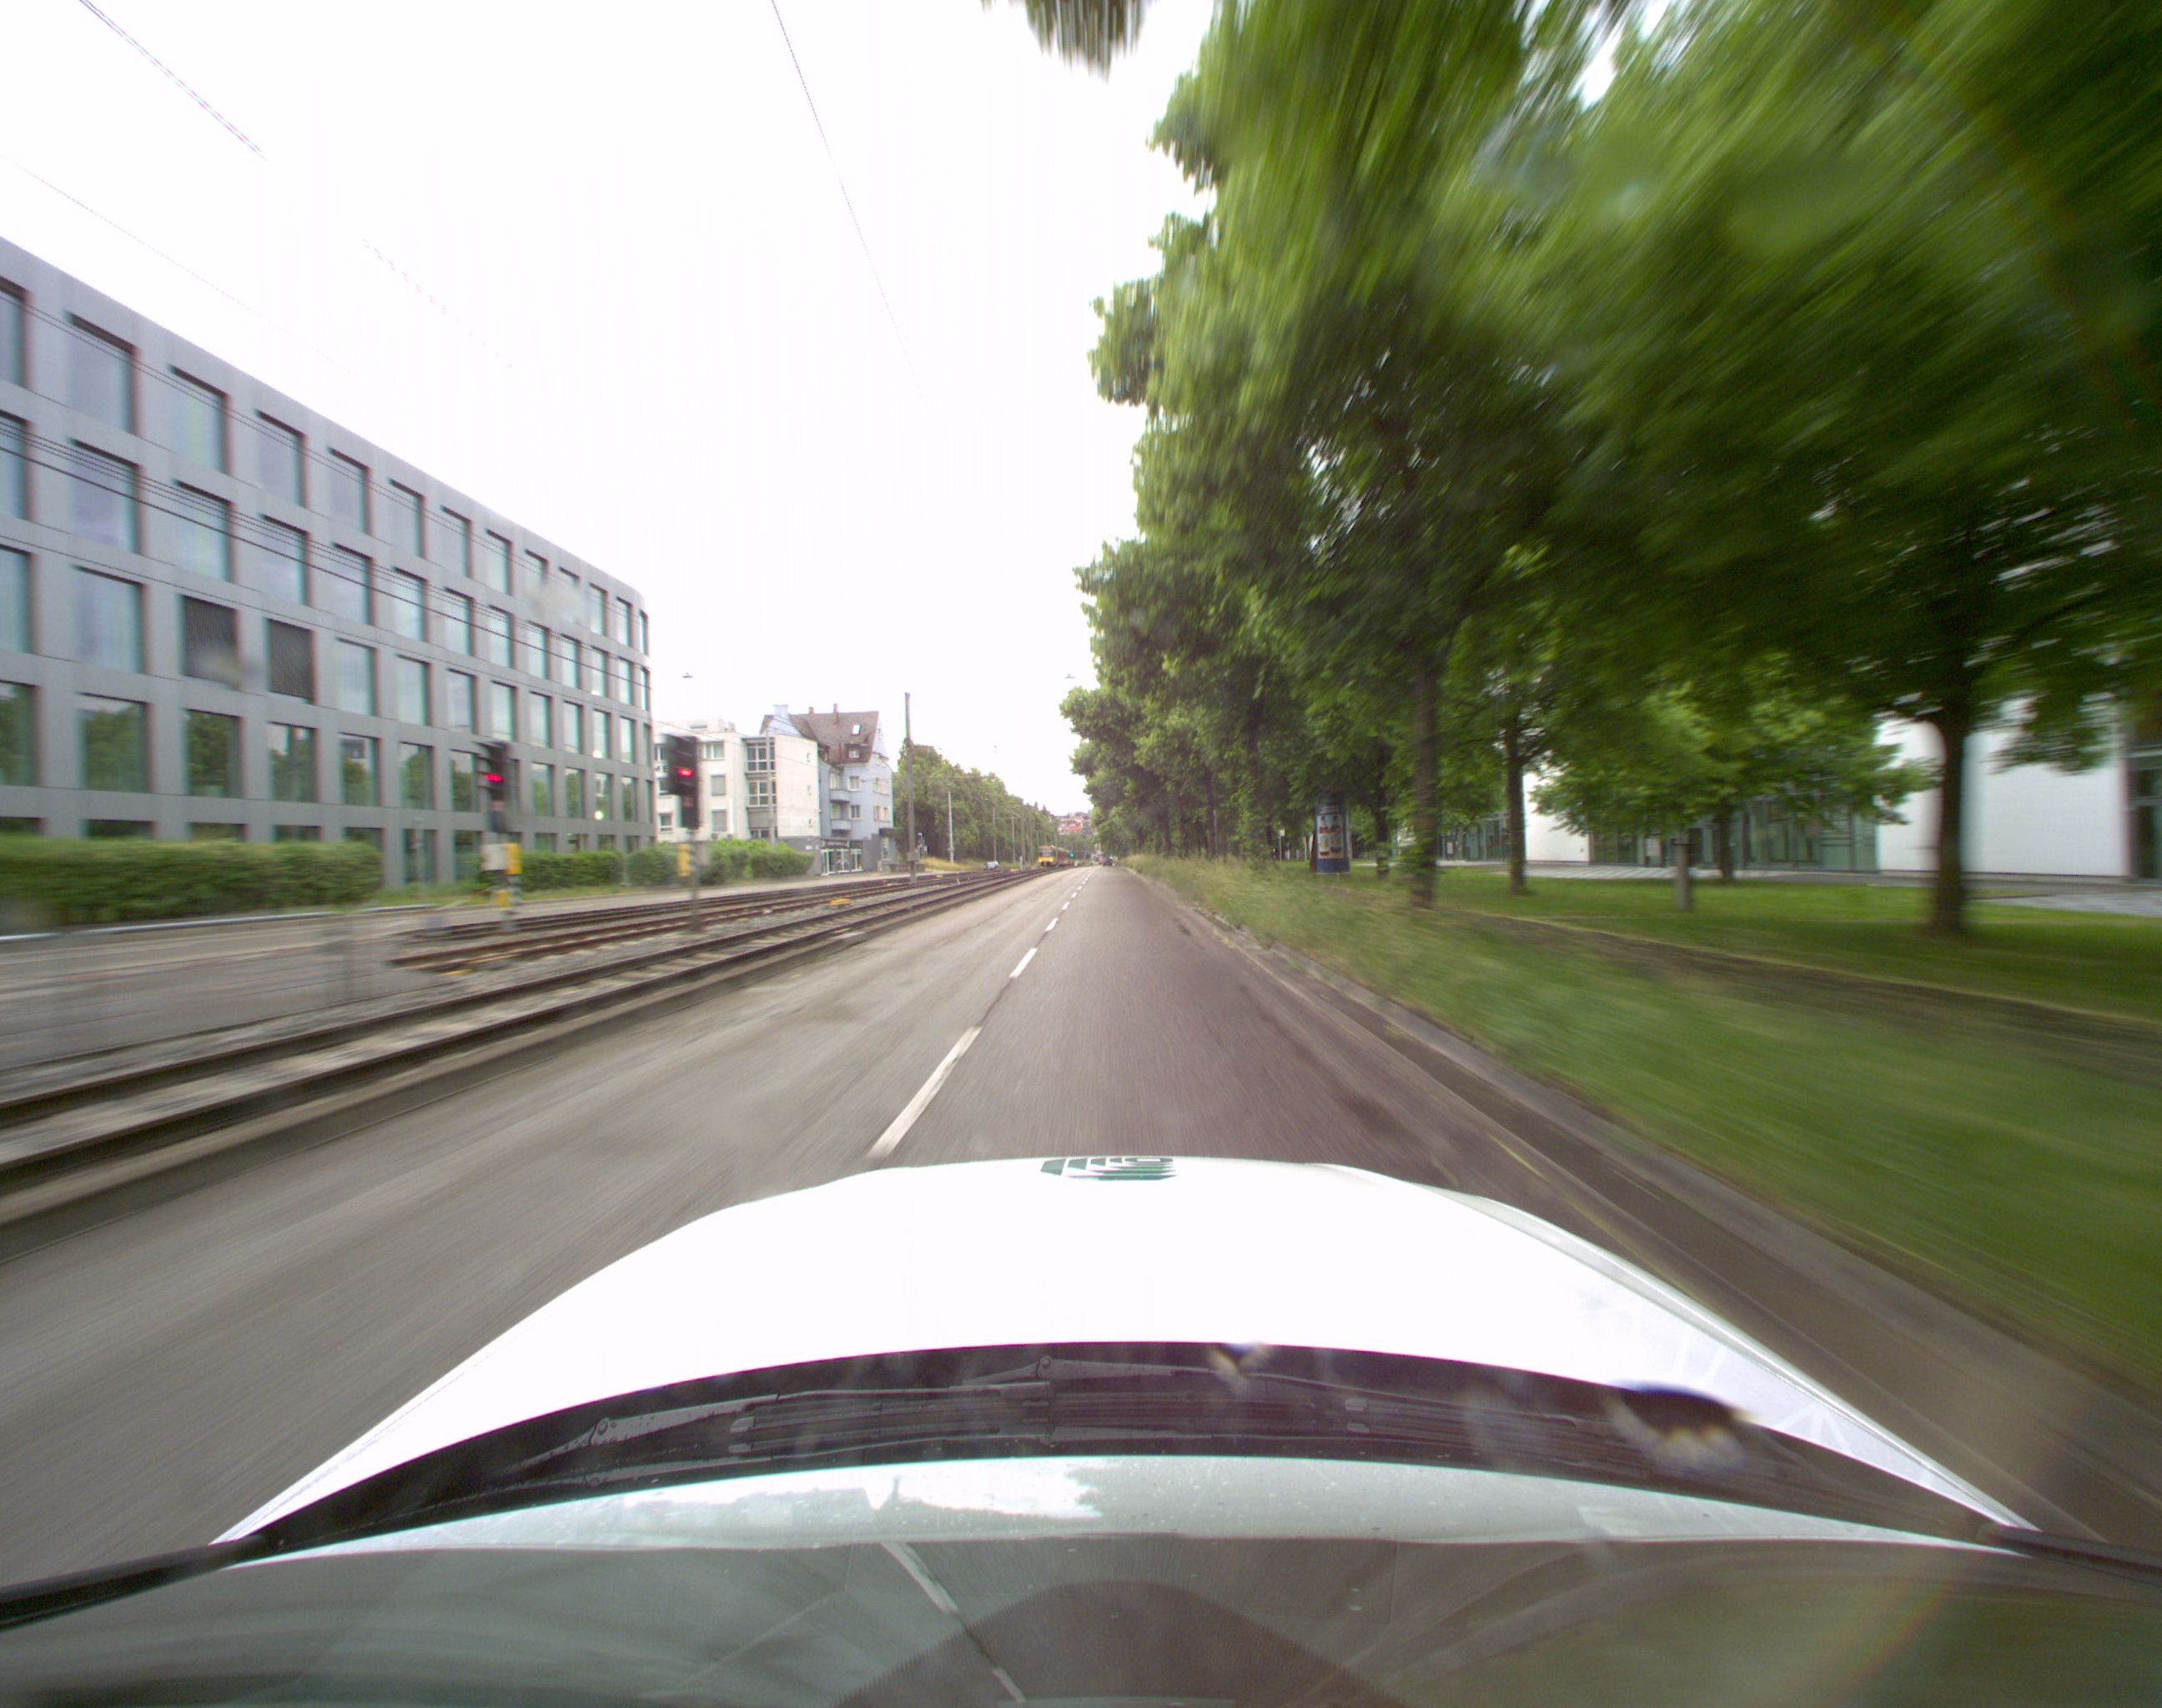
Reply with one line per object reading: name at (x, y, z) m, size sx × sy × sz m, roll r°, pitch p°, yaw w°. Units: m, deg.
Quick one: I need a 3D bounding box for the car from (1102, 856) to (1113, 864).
car at (4.660, 1.033, 143.616) m, size 1.974 × 1.440 × 4.476 m, roll -2°, pitch 0°, yaw 2°

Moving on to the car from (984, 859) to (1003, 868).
car at (-12.690, 1.372, 117.850) m, size 1.894 × 1.325 × 4.829 m, roll -2°, pitch -1°, yaw 3°

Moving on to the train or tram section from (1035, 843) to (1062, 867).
train or tram section at (-5.432, 0.222, 140.155) m, size 3.201 × 3.796 × 14.800 m, roll -2°, pitch -1°, yaw 3°
